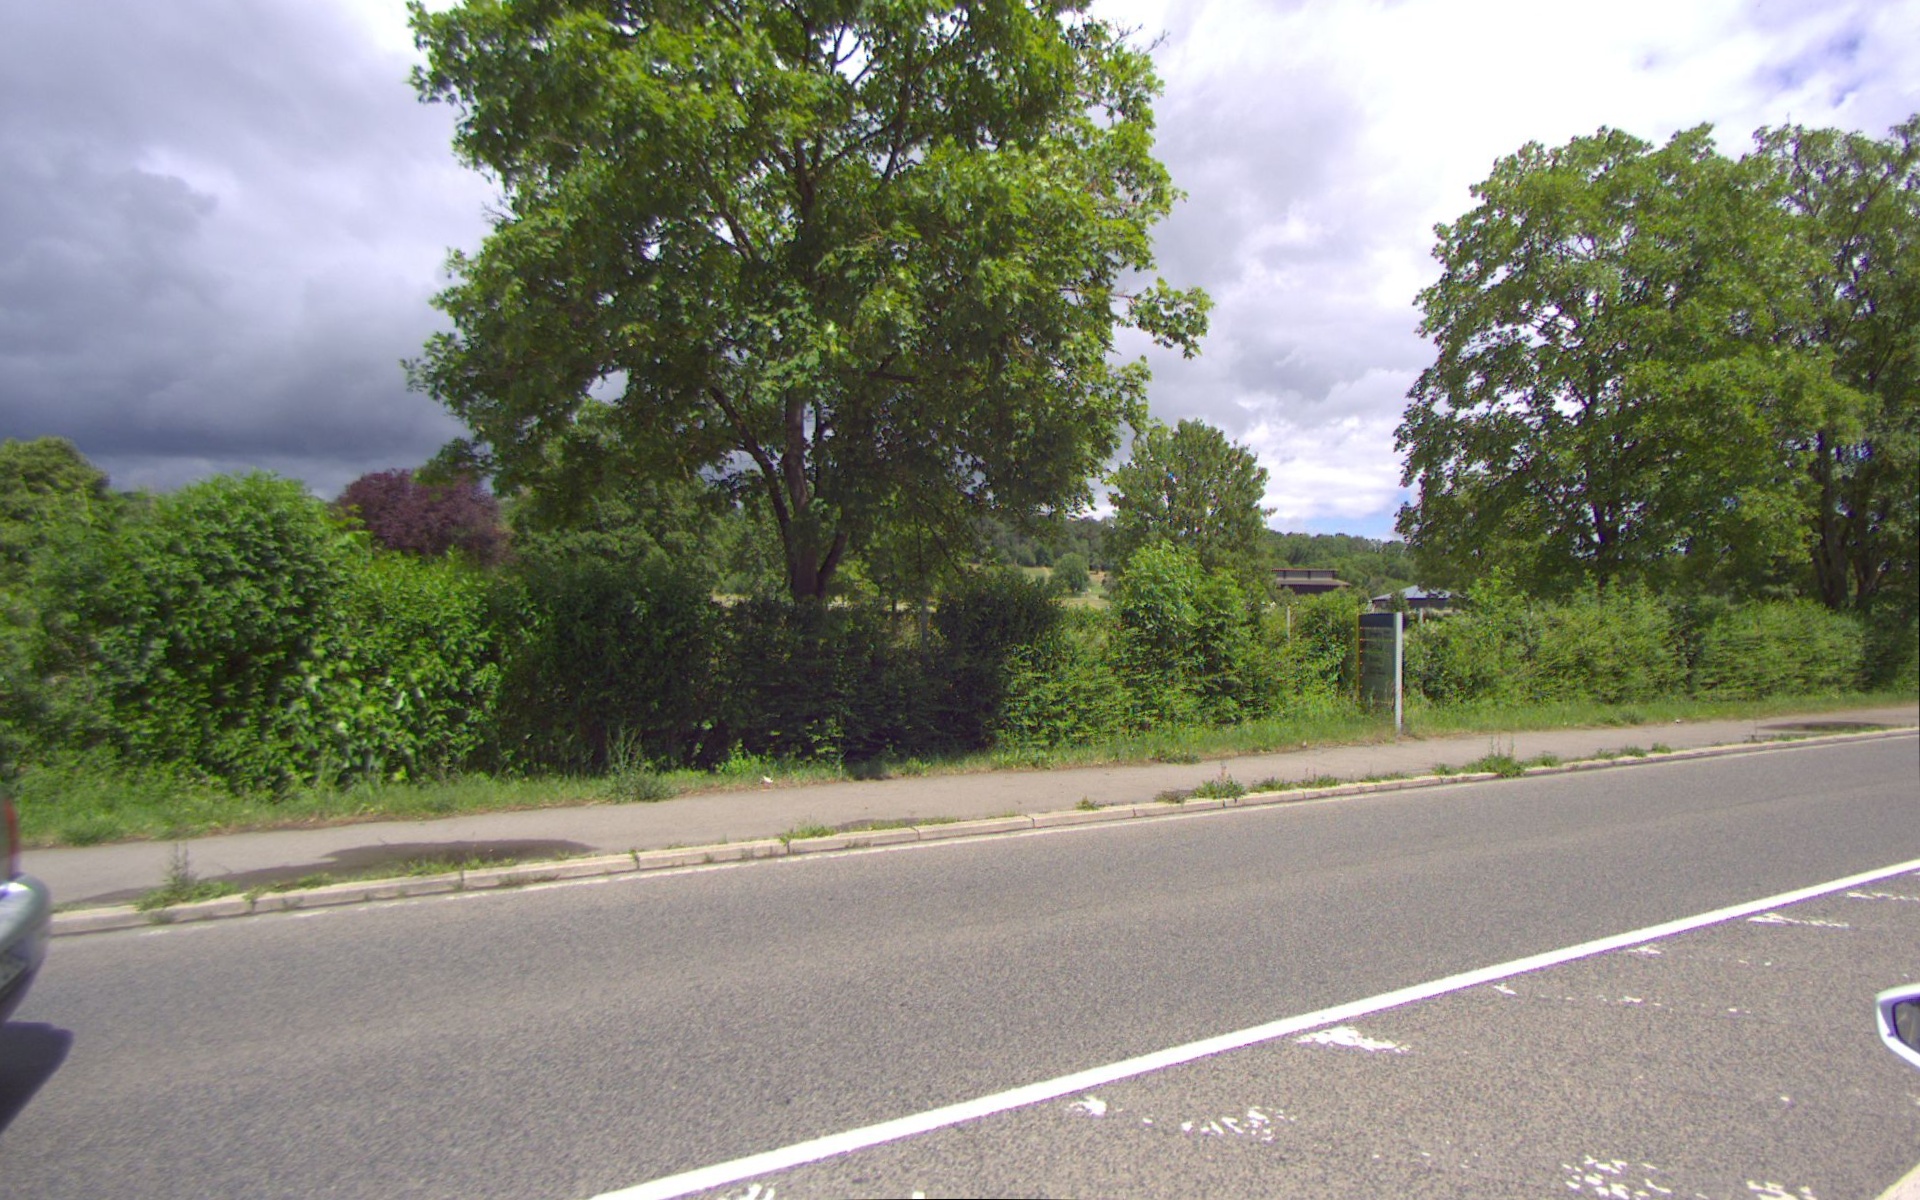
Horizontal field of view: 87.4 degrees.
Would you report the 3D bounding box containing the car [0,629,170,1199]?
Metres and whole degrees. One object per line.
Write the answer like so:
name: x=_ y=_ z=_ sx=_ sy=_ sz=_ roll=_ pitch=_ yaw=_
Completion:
car: x=-4.151 y=0.808 z=2.105 sx=3.646 sy=1.450 sz=1.654 roll=1 pitch=-3 yaw=-28
